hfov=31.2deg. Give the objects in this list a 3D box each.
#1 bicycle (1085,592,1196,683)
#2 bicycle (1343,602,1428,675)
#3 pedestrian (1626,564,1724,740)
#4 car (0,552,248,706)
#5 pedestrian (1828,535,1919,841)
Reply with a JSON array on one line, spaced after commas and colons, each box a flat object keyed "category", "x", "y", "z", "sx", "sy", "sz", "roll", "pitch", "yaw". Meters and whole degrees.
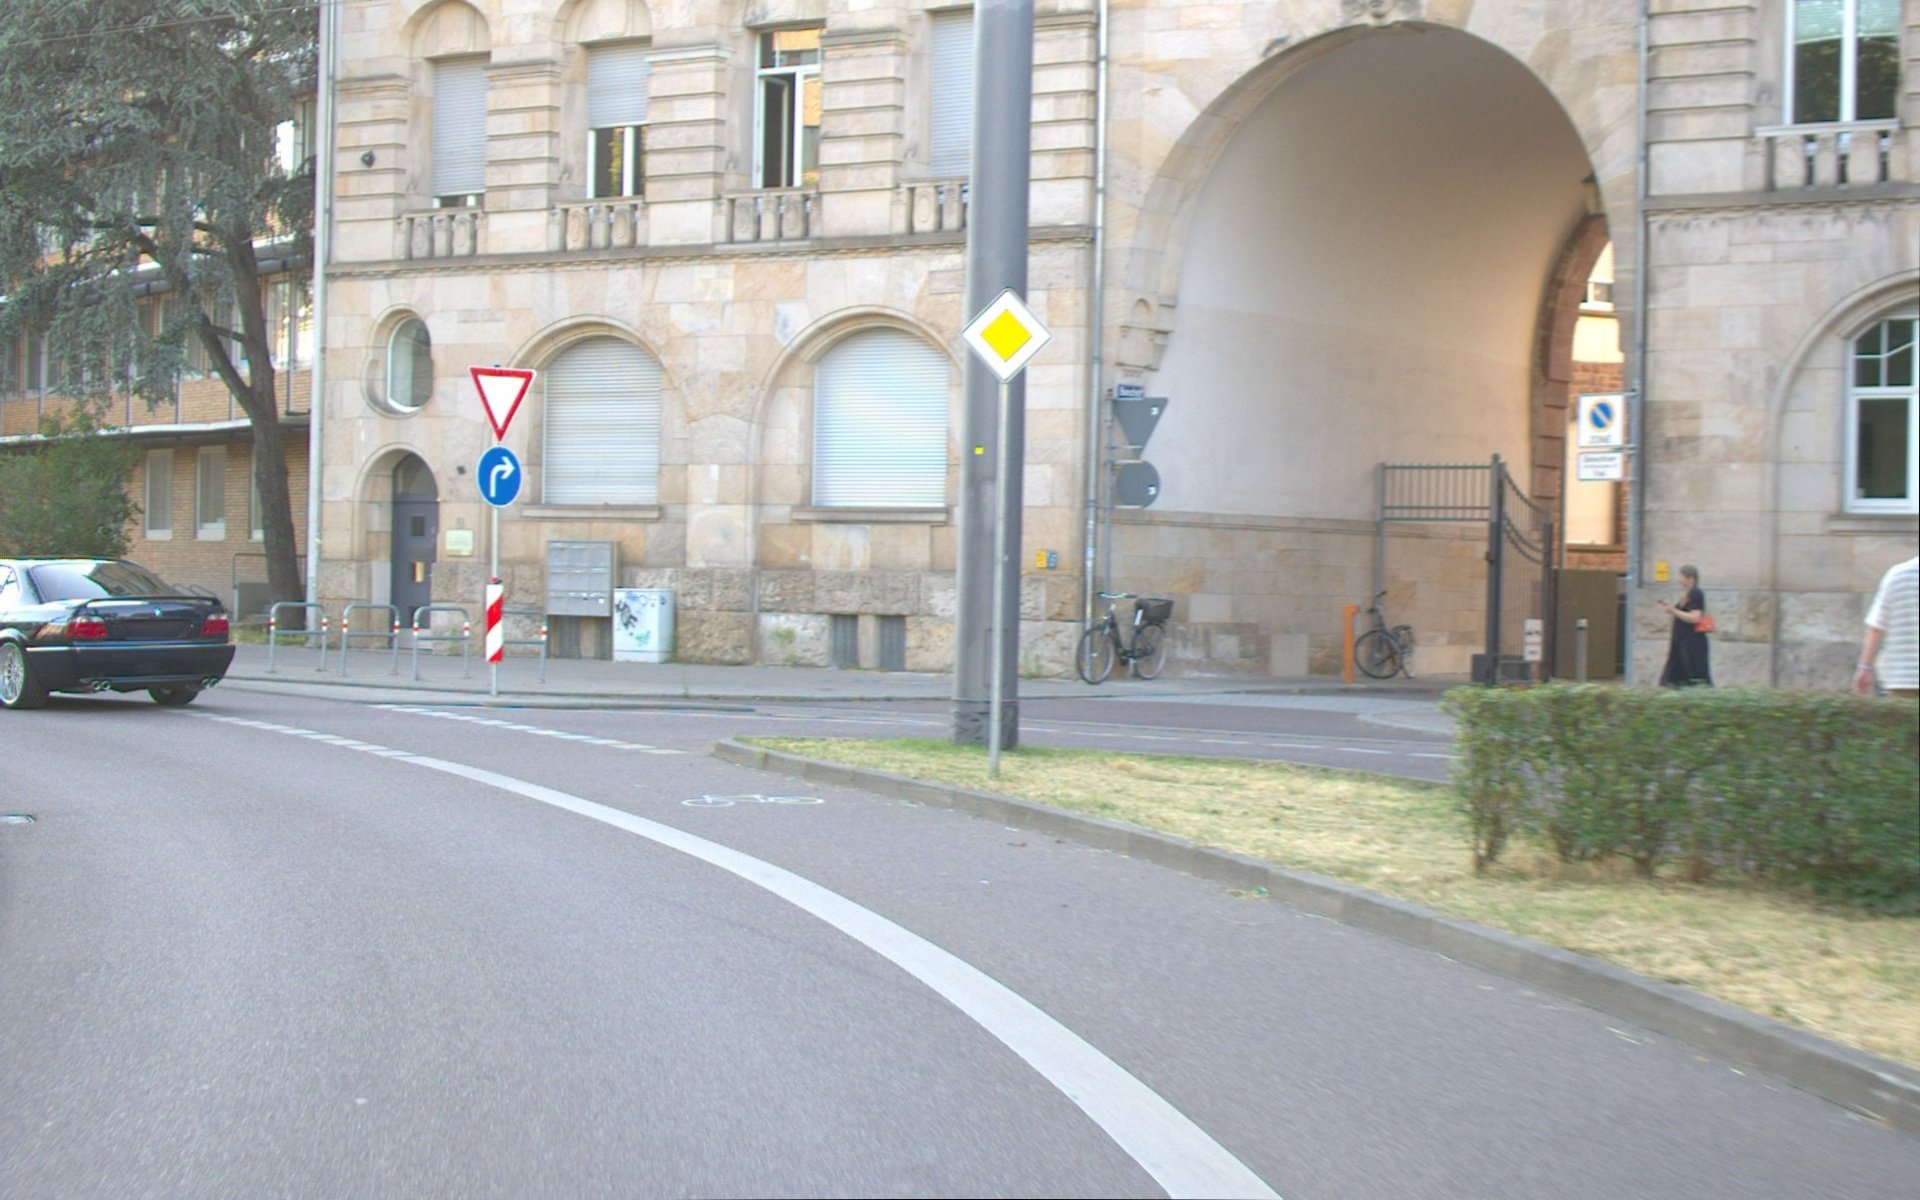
[{"category": "bicycle", "x": 2.224, "y": 0.448, "z": 42.238, "sx": 0.429, "sy": 1.069, "sz": 1.852, "roll": 3, "pitch": 2, "yaw": 35}, {"category": "bicycle", "x": 5.845, "y": 0.521, "z": 47.145, "sx": 0.481, "sy": 0.952, "sz": 1.509, "roll": 3, "pitch": 2, "yaw": 35}, {"category": "pedestrian", "x": 7.122, "y": 0.508, "z": 34.264, "sx": 0.721, "sy": 1.703, "sz": 0.576, "roll": 3, "pitch": 2, "yaw": 39}, {"category": "car", "x": -8.702, "y": 0.221, "z": 32.456, "sx": 1.831, "sy": 1.349, "sz": 4.639, "roll": -1, "pitch": 1, "yaw": -41}, {"category": "pedestrian", "x": 5.746, "y": 0.513, "z": 20.681, "sx": 0.590, "sy": 1.786, "sz": 0.821, "roll": 1, "pitch": 1, "yaw": -22}]
